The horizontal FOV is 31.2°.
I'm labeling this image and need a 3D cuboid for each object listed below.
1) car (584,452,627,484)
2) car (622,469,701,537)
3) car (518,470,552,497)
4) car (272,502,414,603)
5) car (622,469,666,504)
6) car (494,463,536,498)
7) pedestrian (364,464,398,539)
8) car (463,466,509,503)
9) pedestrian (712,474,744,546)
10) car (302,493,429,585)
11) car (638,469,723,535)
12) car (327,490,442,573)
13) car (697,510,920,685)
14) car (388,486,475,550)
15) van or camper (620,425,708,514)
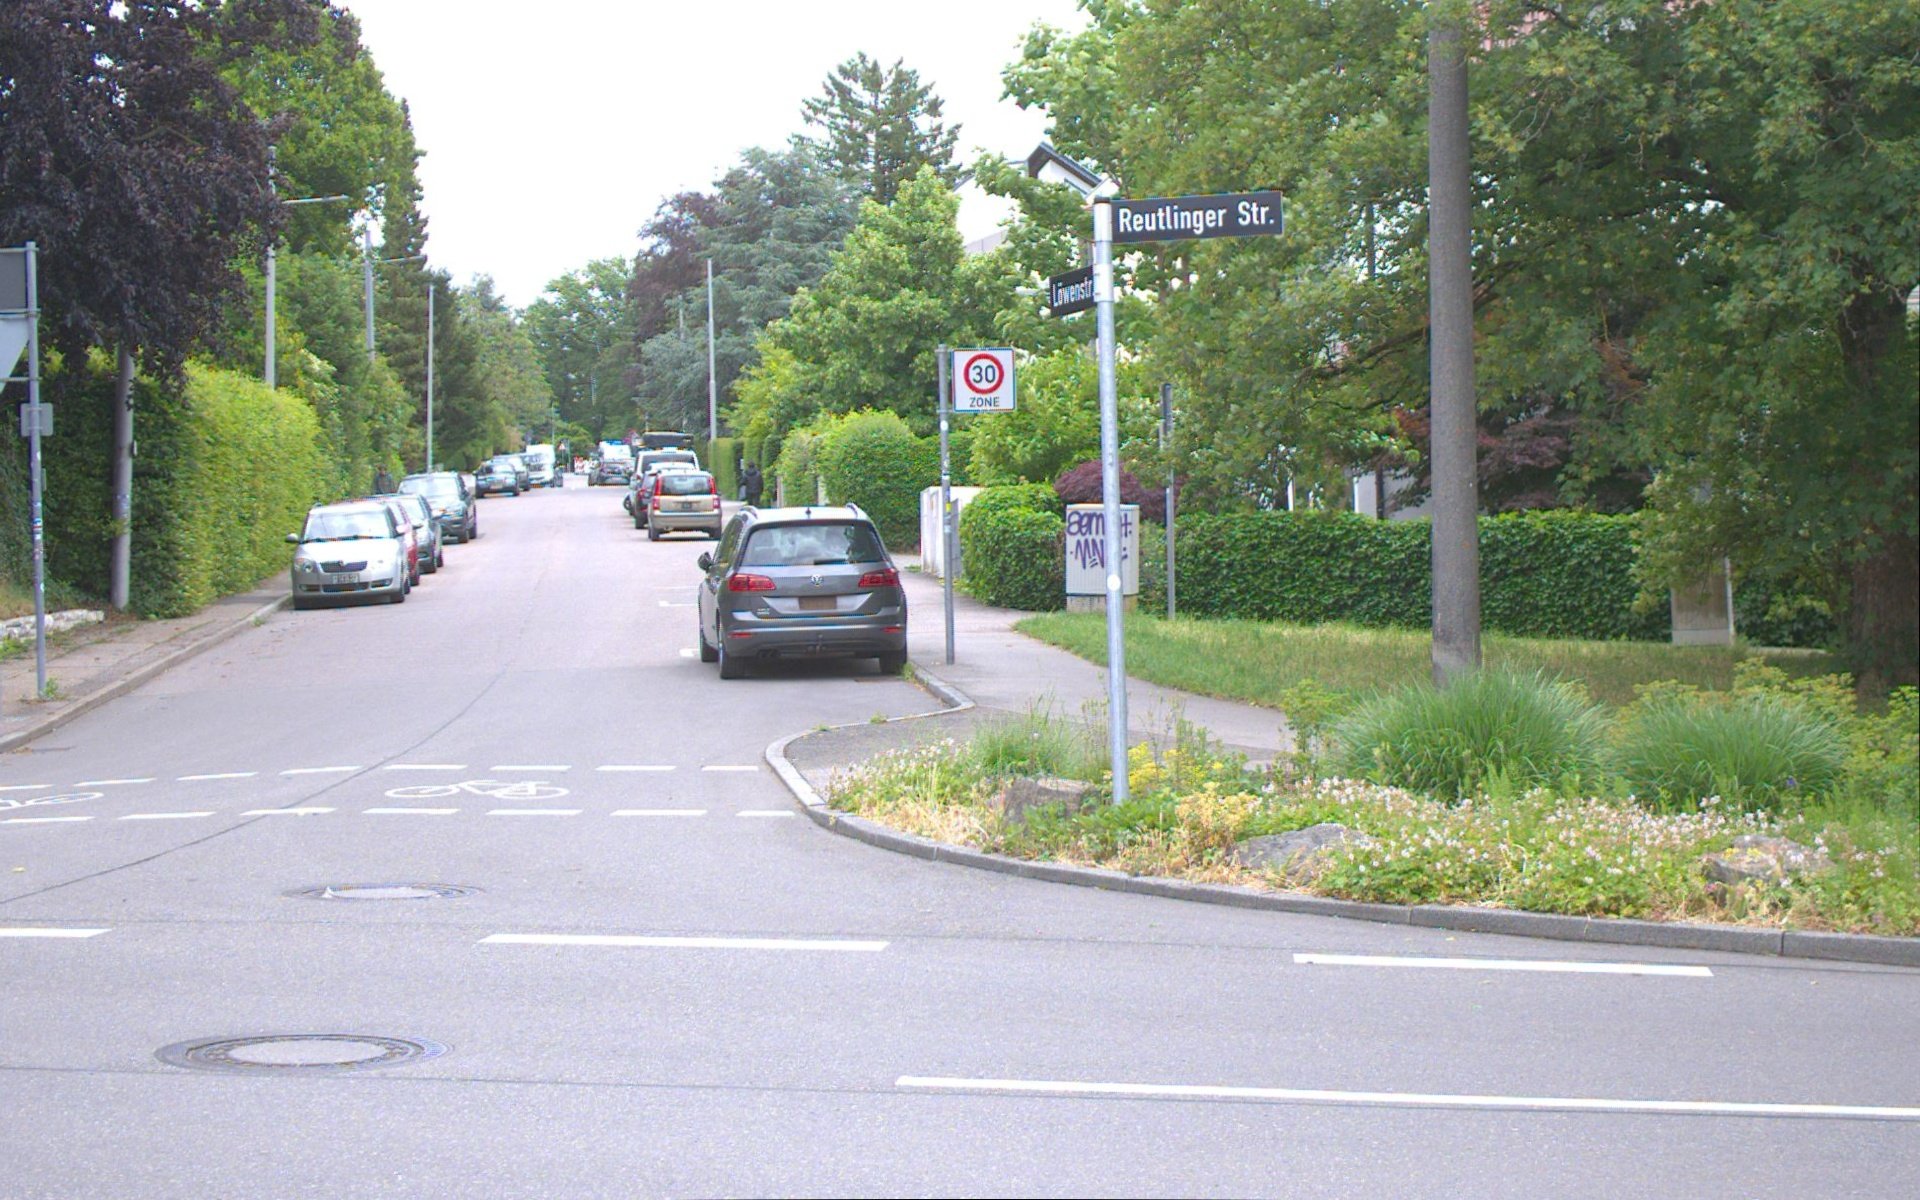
[{"bbox_3d":[-18.166,-6.748,176.103,1.815,1.568,4.001,-1,1,-11],"label":"car"},{"bbox_3d":[-7.414,-2.393,85.182,1.746,1.634,3.729,-1,1,-8],"label":"car"},{"bbox_3d":[-21.954,-6.000,177.612,1.655,1.330,3.782,1,1,-6],"label":"car"},{"bbox_3d":[-9.336,-0.748,52.239,1.946,1.437,4.001,-1,2,-8],"label":"car"},{"bbox_3d":[-16.913,-6.067,183.678,1.939,1.790,4.196,1,1,-10],"label":"car"},{"bbox_3d":[-19.350,-5.194,149.693,1.714,1.458,3.657,1,1,-6],"label":"car"},{"bbox_3d":[-15.711,-2.682,93.260,0.853,2.007,0.873,1,1,-11],"label":"pedestrian"},{"bbox_3d":[-19.292,-4.700,140.064,1.714,1.458,3.657,1,1,-6],"label":"car"},{"bbox_3d":[-6.019,-2.336,89.184,0.757,1.865,0.620,1,1,-6],"label":"pedestrian"},{"bbox_3d":[-9.878,-1.037,57.357,1.946,1.437,4.001,-1,2,-8],"label":"car"},{"bbox_3d":[-6.209,-2.170,76.176,1.608,1.409,3.474,1,1,-9],"label":"car"},{"bbox_3d":[-10.425,-1.260,62.484,1.946,1.437,4.001,-1,2,-8],"label":"car"},{"bbox_3d":[-1.510,-0.078,32.957,1.817,1.531,4.001,-2,2,-7],"label":"car"},{"bbox_3d":[-12.312,-1.924,80.254,1.946,1.437,4.001,-1,2,-8],"label":"car"},{"bbox_3d":[-8.433,-3.674,97.595,2.112,2.396,5.247,-1,1,-9],"label":"van or camper"}]
